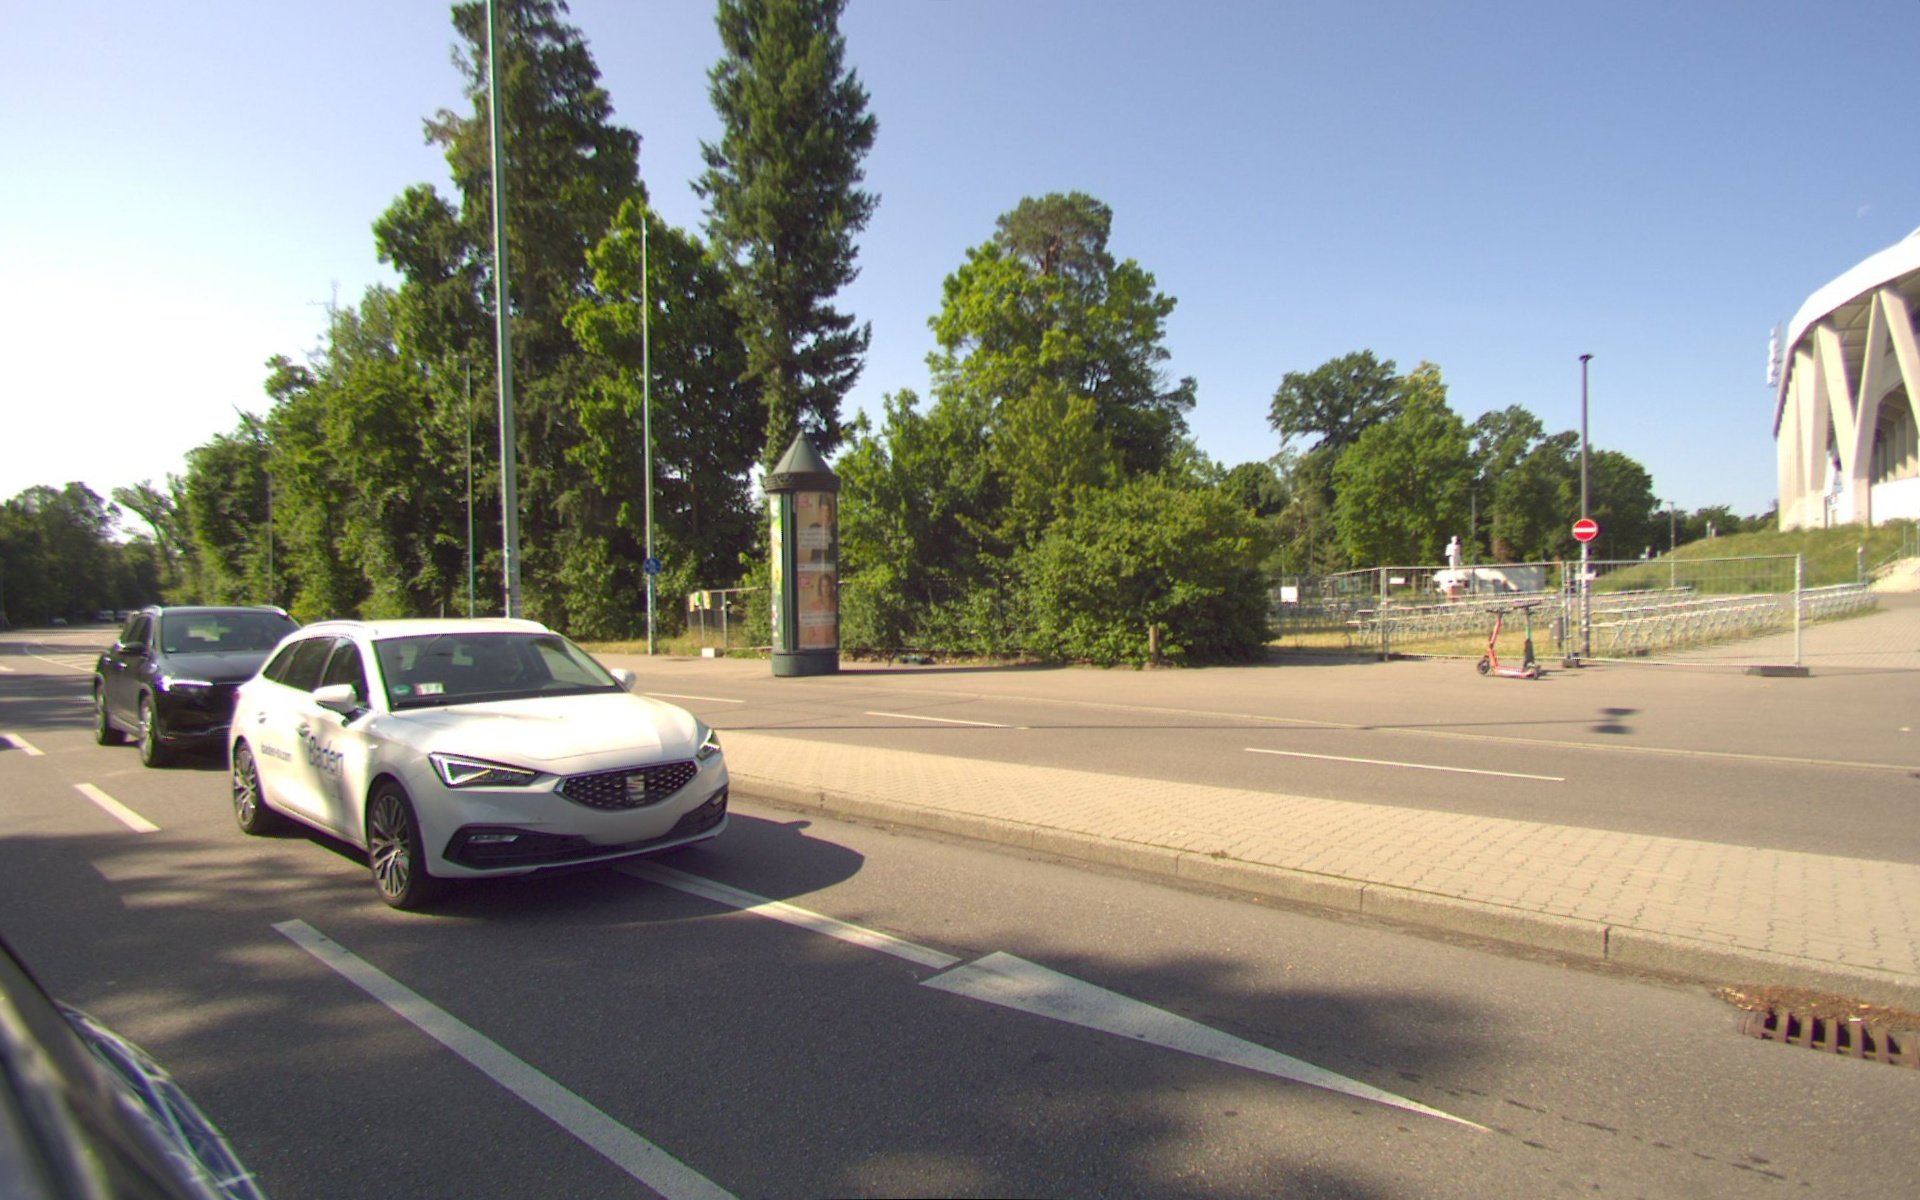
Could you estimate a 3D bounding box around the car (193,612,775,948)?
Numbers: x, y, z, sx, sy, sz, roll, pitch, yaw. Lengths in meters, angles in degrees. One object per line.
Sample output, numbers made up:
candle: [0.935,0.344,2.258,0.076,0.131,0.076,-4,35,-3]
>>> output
car: [-3.354,0.824,6.568,4.718,1.437,1.707,-1,-1,42]

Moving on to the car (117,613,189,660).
car: [-34.297,1.528,42.979,4.001,1.874,1.851,-1,0,44]

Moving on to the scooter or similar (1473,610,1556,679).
scooter or similar: [9.655,0.770,17.643,0.390,1.154,1.197,-1,0,-44]

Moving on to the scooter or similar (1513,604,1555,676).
scooter or similar: [10.292,0.704,18.170,0.392,1.231,1.076,-1,0,16]

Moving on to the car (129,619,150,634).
car: [-93.967,3.022,115.865,1.829,1.630,4.006,-1,0,-40]

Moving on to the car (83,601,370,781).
car: [-8.267,0.886,11.247,4.273,1.608,1.785,-2,-1,43]
